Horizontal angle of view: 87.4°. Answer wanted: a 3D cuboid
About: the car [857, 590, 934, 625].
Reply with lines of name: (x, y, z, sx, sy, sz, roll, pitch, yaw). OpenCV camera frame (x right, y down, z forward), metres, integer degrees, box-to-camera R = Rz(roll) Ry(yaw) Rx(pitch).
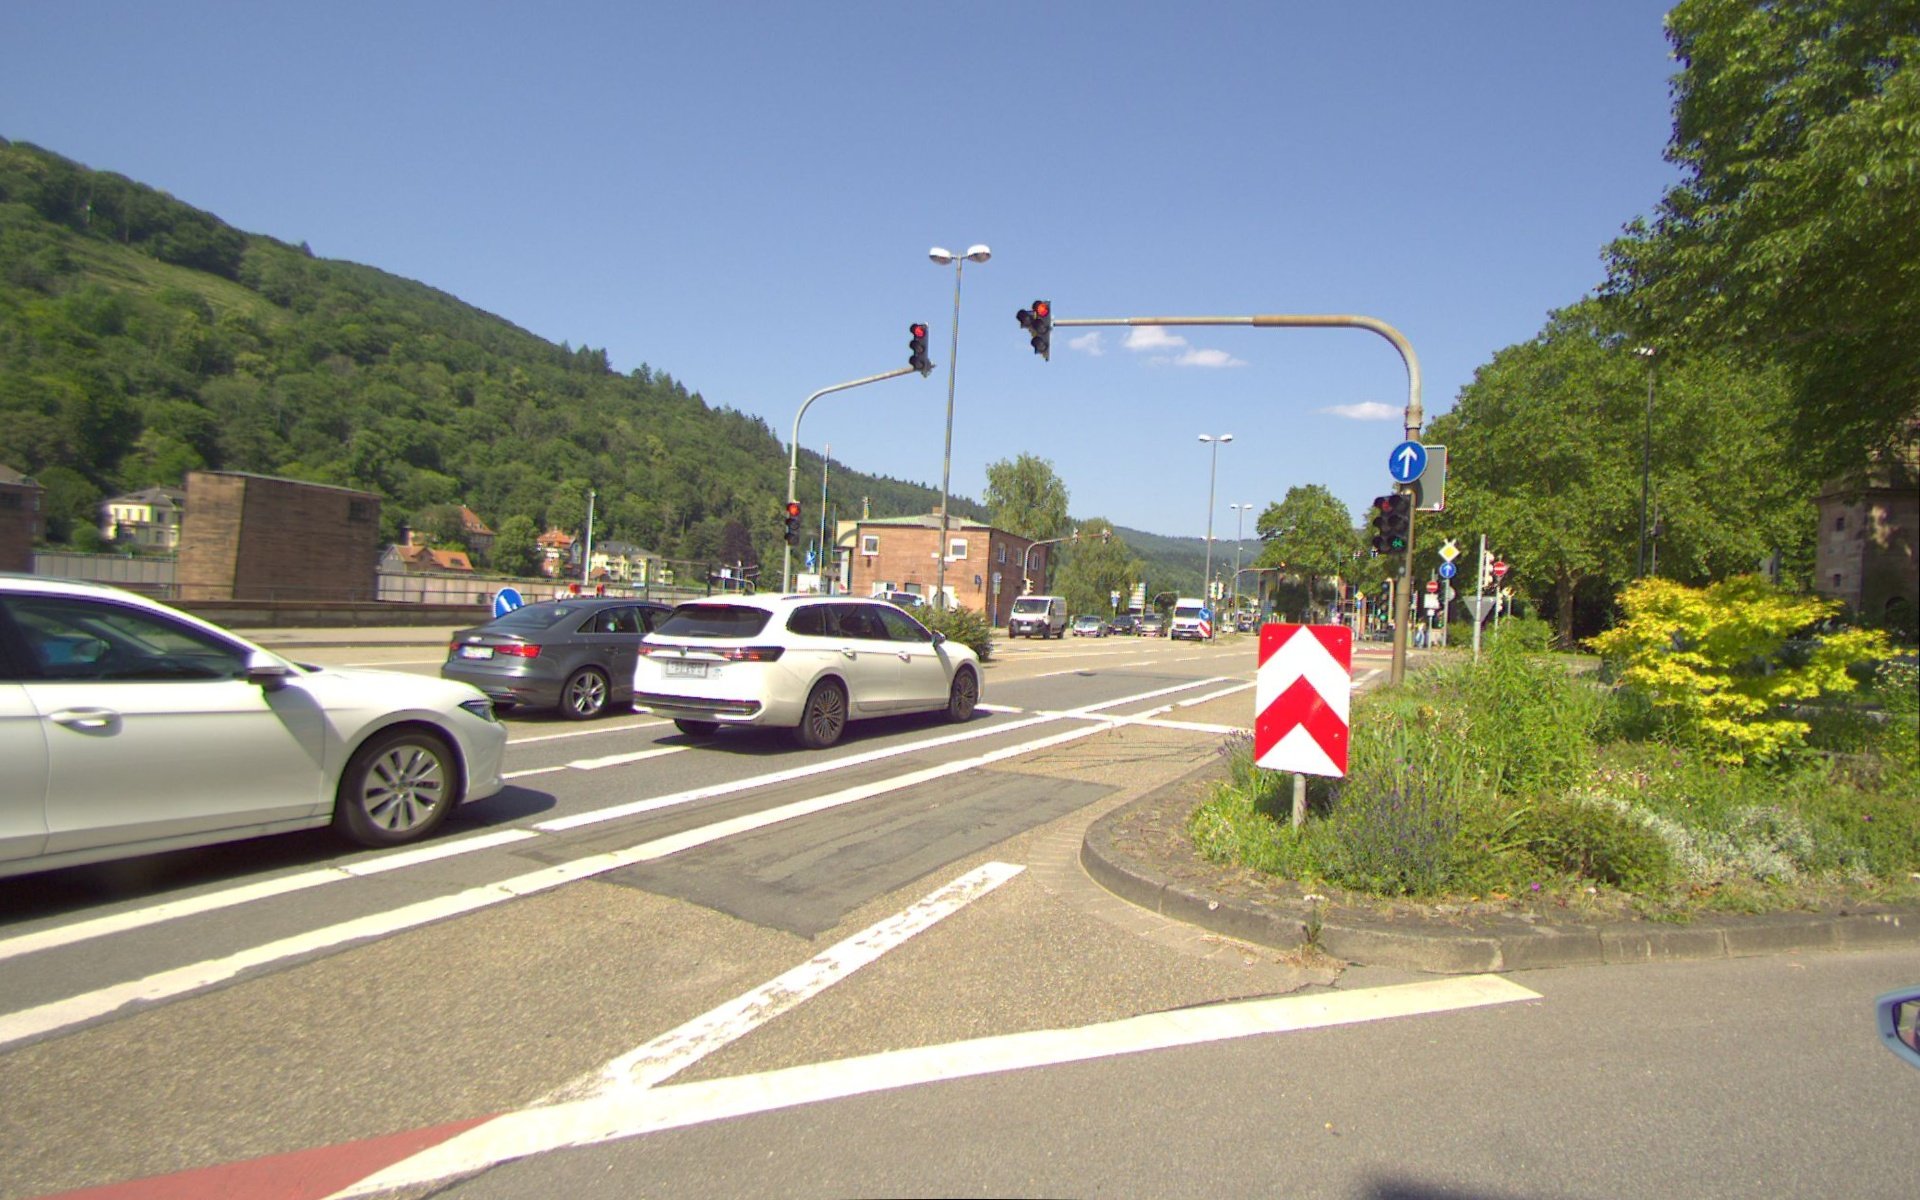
car: (-4.070, 0.488, 63.059, 4.537, 2.040, 1.996, 2, 0, -11)

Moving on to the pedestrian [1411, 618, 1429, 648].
pedestrian: (26.387, 1.890, 57.635, 0.752, 1.731, 0.874, 1, 0, 37)

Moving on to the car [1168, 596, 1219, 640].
car: (14.836, 1.130, 63.553, 2.344, 2.611, 6.055, 1, 0, 20)

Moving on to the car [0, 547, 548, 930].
car: (-4.646, 0.542, 4.694, 1.964, 1.554, 4.849, 2, 0, 30)

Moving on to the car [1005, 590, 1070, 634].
car: (4.053, 0.602, 51.931, 2.177, 2.106, 5.044, 1, 0, 18)

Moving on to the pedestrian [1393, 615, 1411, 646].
pedestrian: (25.509, 1.733, 57.931, 0.752, 1.742, 0.792, 1, 0, 37)

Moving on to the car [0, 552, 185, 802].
car: (-7.367, 0.459, 5.950, 1.839, 1.583, 3.993, 2, 0, 29)

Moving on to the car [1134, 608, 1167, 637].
car: (13.438, 1.550, 70.723, 1.960, 1.857, 4.002, 1, 0, 14)

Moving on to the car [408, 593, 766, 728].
car: (-4.485, 0.651, 12.692, 1.839, 1.377, 3.993, 2, 0, 29)

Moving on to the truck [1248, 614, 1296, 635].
truck: (33.872, 2.614, 109.253, 2.127, 2.040, 6.256, 1, 0, -13)

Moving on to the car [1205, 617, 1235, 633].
car: (35.936, 3.420, 139.075, 1.916, 2.040, 3.975, 1, 0, -25)

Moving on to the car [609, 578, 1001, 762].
car: (-1.386, 0.635, 11.075, 1.758, 1.552, 4.730, 1, -1, 28)

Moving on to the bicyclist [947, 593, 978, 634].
bicyclist: (0.126, 0.686, 50.987, 1.192, 2.040, 1.118, 1, 0, 21)

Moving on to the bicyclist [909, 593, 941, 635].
bicyclist: (-1.716, 0.684, 49.746, 1.192, 2.040, 1.118, 1, 0, 21)

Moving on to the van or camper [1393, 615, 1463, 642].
van or camper: (36.147, 2.152, 77.613, 1.985, 1.927, 4.500, 1, 0, -42)

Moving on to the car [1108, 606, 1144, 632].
car: (12.357, 1.401, 74.703, 2.169, 1.804, 4.752, 1, 0, 15)

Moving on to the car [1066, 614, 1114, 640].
car: (8.372, 1.684, 64.338, 2.169, 1.477, 4.751, 2, 0, 18)
